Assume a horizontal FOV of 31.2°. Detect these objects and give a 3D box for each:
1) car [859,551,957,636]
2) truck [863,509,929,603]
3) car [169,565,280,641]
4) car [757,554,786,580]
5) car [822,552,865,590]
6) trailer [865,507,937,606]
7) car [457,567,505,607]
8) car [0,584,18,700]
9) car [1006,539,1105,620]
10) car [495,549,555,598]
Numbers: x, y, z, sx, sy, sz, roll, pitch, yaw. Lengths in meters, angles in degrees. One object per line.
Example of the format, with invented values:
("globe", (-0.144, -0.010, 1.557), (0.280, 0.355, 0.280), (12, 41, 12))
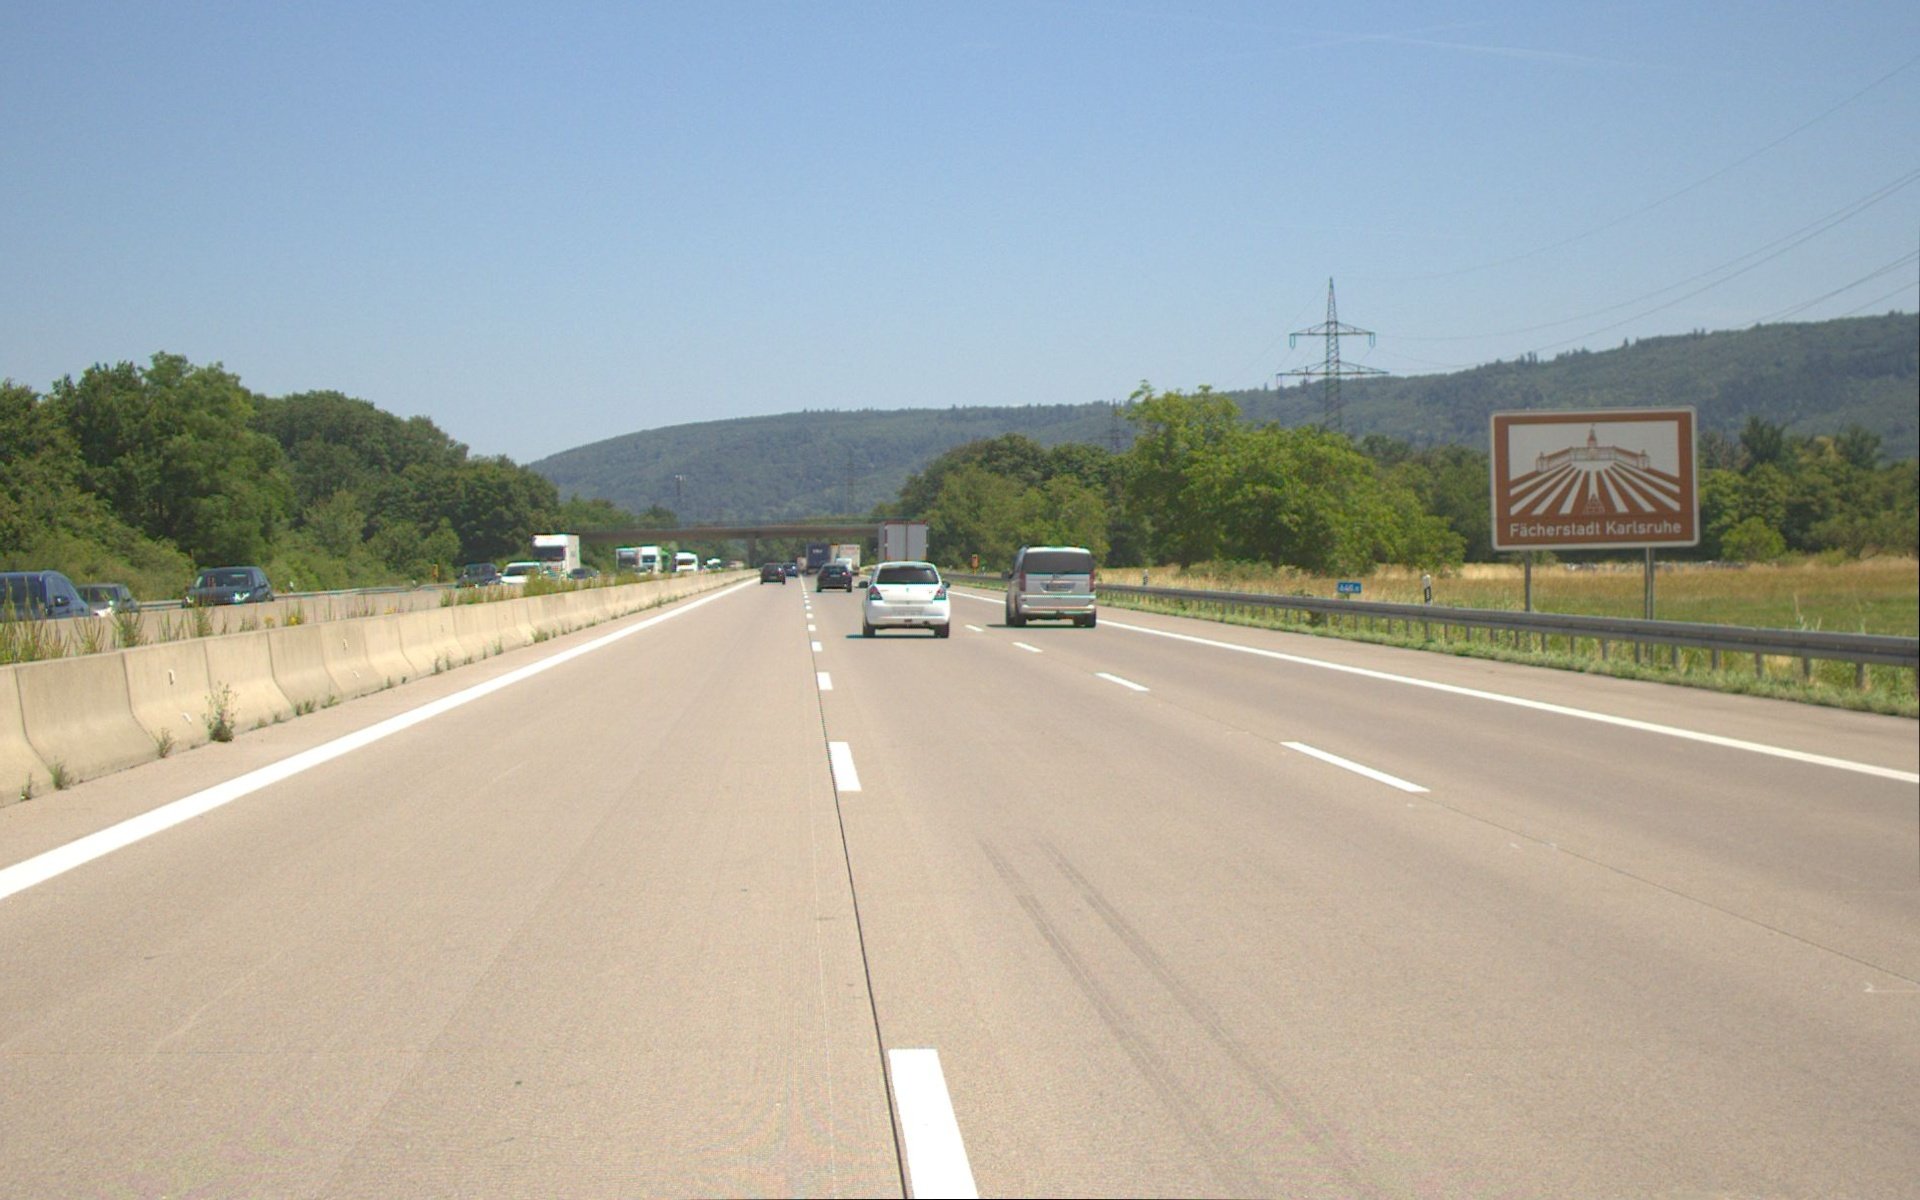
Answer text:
("car", (-1.083, -0.164, 69.424), (1.819, 1.656, 4.001), (0, 1, -3))
("truck", (-4.072, -2.767, 215.612), (3.720, 5.791, 7.055), (1, 1, -4))
("car", (-19.125, 0.053, 89.579), (1.993, 1.908, 4.402), (1, 1, -1))
("car", (-13.083, -2.314, 238.380), (1.928, 1.787, 4.001), (1, 1, -3))
("car", (-5.984, -1.487, 176.140), (1.993, 1.842, 4.001), (2, 1, -4))
("trailer", (-3.660, -2.678, 209.958), (3.720, 5.791, 12.163), (1, 1, -4))
("car", (-22.794, -0.618, 163.836), (1.993, 1.831, 4.817), (1, 1, -5))
("car", (-14.423, 0.596, 46.782), (1.993, 1.612, 4.588), (1, 1, -1))
("car", (2.239, -0.496, 81.509), (1.993, 1.842, 4.001), (1, 1, -3))
("car", (-17.147, -1.059, 135.664), (1.906, 1.853, 4.000), (1, 1, -1))
